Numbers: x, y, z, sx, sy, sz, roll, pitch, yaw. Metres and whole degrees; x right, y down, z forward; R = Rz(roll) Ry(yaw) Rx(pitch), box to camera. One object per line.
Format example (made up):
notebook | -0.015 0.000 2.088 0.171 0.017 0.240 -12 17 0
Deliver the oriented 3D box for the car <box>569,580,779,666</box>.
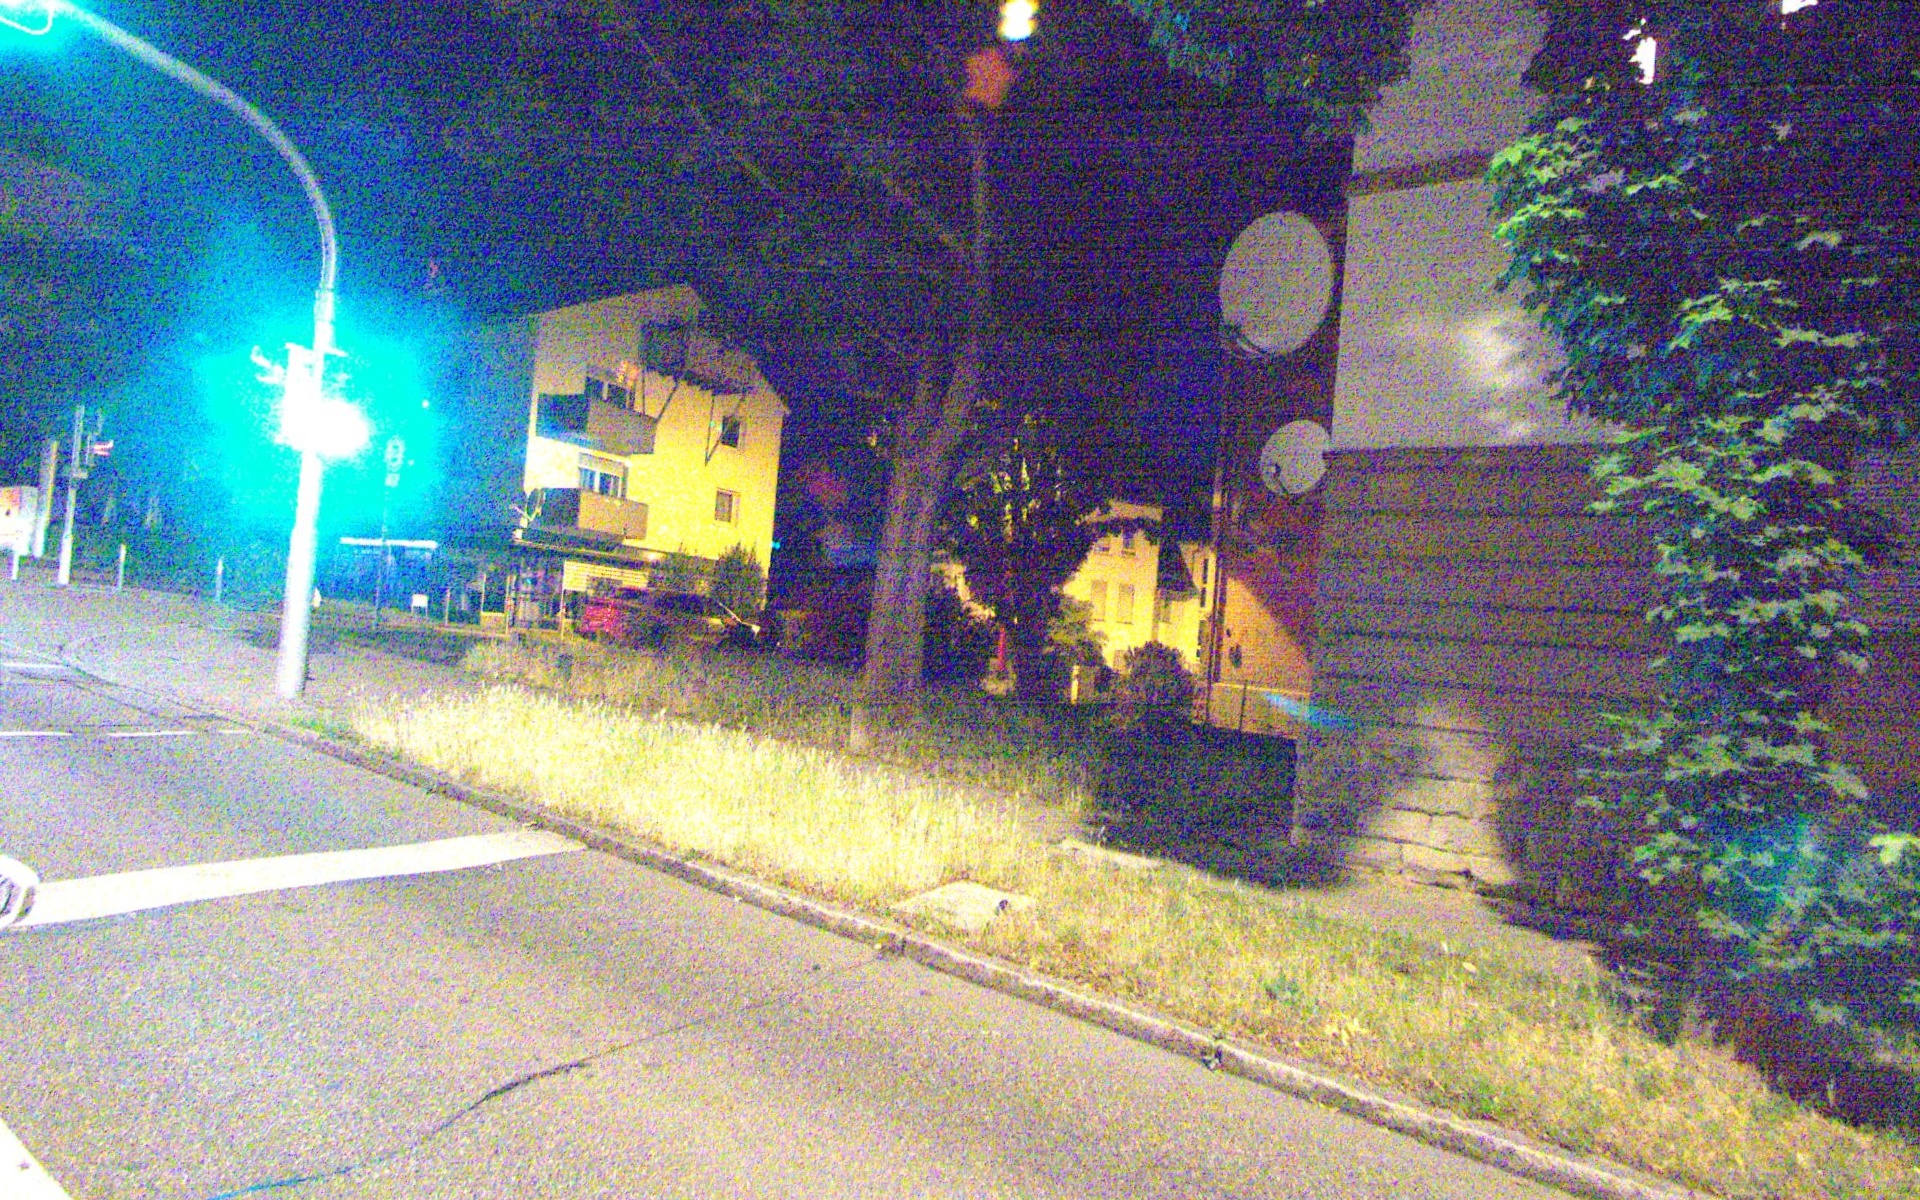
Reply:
car | -6.504 0.584 23.294 1.778 1.577 4.366 3 -3 38
